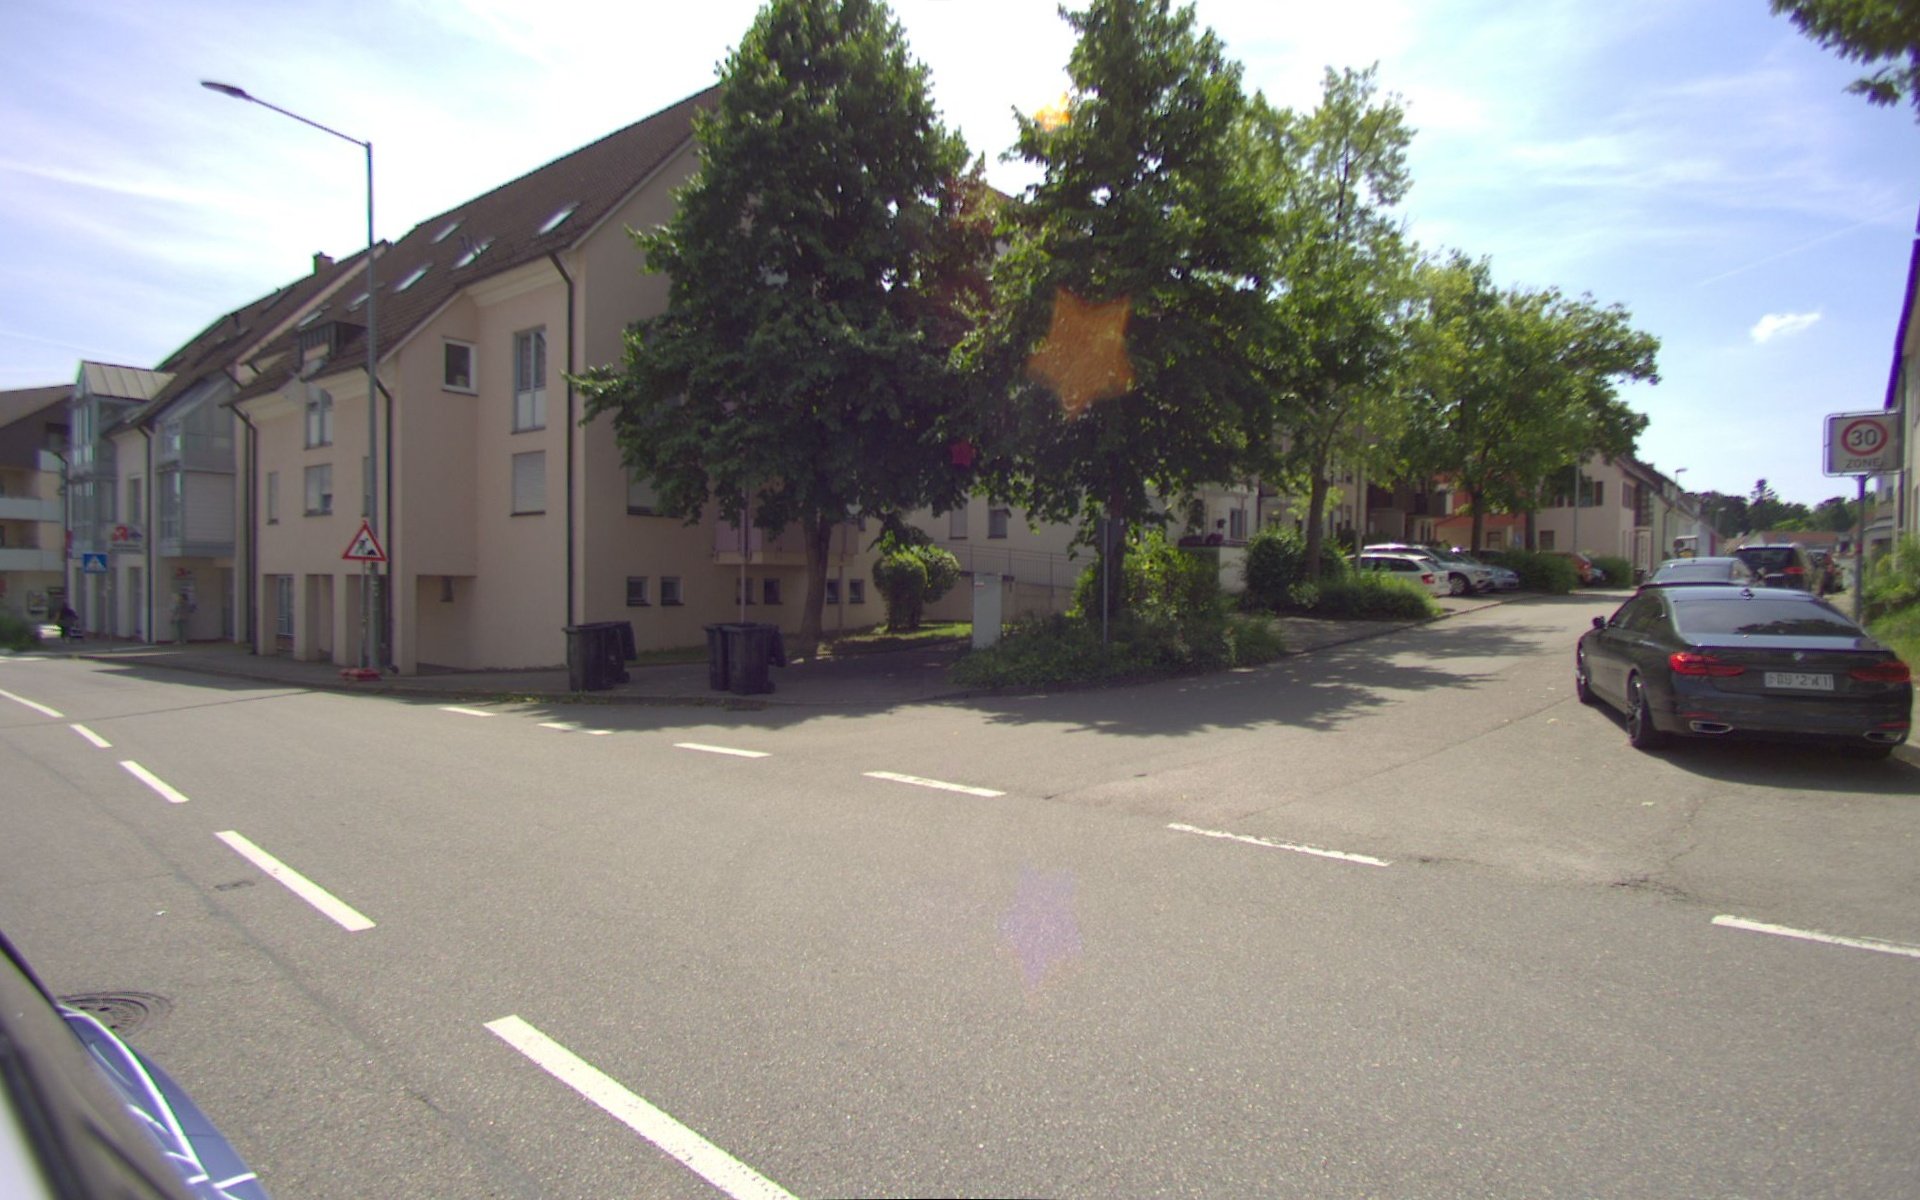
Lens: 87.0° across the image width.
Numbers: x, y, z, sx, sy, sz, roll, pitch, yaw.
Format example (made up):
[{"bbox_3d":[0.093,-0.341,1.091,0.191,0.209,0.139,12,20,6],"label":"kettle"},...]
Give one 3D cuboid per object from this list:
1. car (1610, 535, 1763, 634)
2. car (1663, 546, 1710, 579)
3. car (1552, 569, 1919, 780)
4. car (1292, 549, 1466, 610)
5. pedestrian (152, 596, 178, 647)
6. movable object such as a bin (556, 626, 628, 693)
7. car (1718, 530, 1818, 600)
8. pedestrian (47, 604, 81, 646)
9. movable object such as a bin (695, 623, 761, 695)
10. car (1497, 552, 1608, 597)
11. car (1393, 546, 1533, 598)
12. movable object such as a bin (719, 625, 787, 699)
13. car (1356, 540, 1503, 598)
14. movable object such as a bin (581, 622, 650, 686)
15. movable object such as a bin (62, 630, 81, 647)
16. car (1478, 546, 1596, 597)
[{"bbox_3d":[14.525,-0.344,20.157,1.909,1.696,3.944,-2,2,44],"label":"car"},{"bbox_3d":[44.277,-2.278,61.650,1.998,1.960,4.301,1,2,40],"label":"car"},{"bbox_3d":[7.593,0.522,10.261,1.986,1.490,4.758,-1,3,21],"label":"car"},{"bbox_3d":[11.877,-0.551,28.816,4.144,1.579,1.973,-1,1,41],"label":"car"},{"bbox_3d":[-27.340,0.736,34.808,0.579,1.722,0.569,-1,1,42],"label":"pedestrian"},{"bbox_3d":[-5.867,0.932,16.149,0.694,1.008,0.842,-1,0,42],"label":"movable object such as a bin"},{"bbox_3d":[21.666,-0.964,27.092,1.774,1.659,3.944,-2,2,43],"label":"car"},{"bbox_3d":[-32.377,0.895,36.583,0.957,1.489,0.791,-1,1,42],"label":"pedestrian"},{"bbox_3d":[-3.601,0.898,15.730,0.609,1.007,0.763,1,5,42],"label":"movable object such as a bin"},{"bbox_3d":[26.348,-1.107,45.055,3.913,1.680,1.865,-4,-3,42],"label":"car"},{"bbox_3d":[17.366,-0.942,35.051,3.998,1.590,1.789,-2,1,41],"label":"car"},{"bbox_3d":[-3.124,0.918,15.306,0.609,1.007,0.763,2,5,43],"label":"movable object such as a bin"},{"bbox_3d":[15.475,-0.994,33.412,3.998,1.723,1.973,-1,1,41],"label":"car"},{"bbox_3d":[-5.846,0.895,17.187,0.805,1.008,0.792,-1,2,43],"label":"movable object such as a bin"},{"bbox_3d":[-32.028,1.394,36.491,0.468,0.586,0.453,-1,1,41],"label":"movable object such as a bin"},{"bbox_3d":[24.262,-1.161,42.611,3.944,1.834,1.814,-4,-2,41],"label":"car"}]
